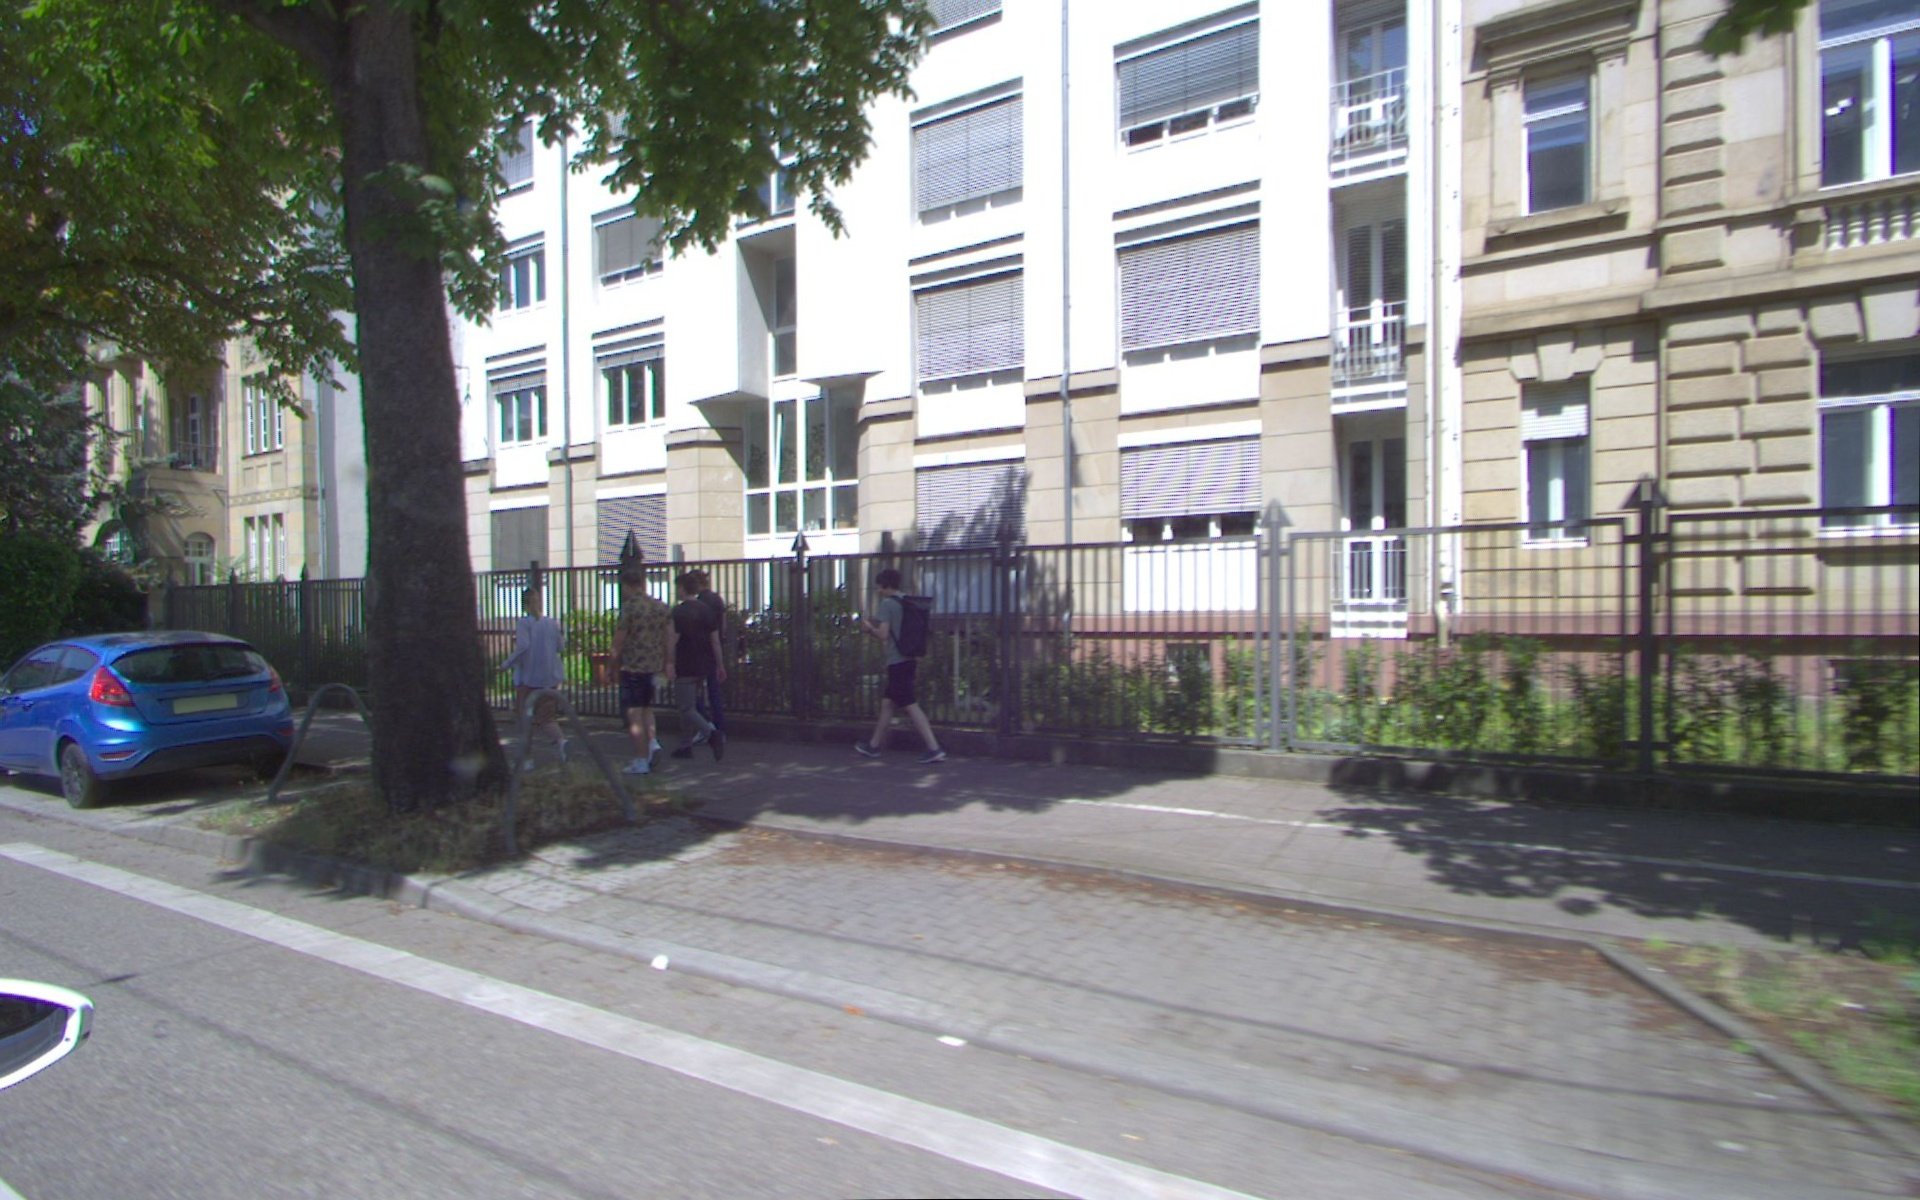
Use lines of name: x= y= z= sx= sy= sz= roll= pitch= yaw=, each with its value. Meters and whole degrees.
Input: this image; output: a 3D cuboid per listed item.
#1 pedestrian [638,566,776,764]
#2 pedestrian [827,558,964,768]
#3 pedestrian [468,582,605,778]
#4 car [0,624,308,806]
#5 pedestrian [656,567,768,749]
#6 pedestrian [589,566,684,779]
pedestrian: x=-2.427 y=0.590 z=9.624 sx=1.037 sy=1.785 sz=0.786 roll=0 pitch=0 yaw=31
pedestrian: x=-0.599 y=0.554 z=9.279 sx=1.068 sy=1.821 sz=0.683 roll=0 pitch=0 yaw=31
pedestrian: x=-3.872 y=0.693 z=9.159 sx=0.961 sy=1.673 sz=0.764 roll=0 pitch=0 yaw=37
car: x=-8.304 y=0.987 z=9.891 sx=3.666 sy=1.462 sz=1.675 roll=-1 pitch=0 yaw=31
pedestrian: x=-2.630 y=0.588 z=10.615 sx=0.963 sy=1.835 sz=0.659 roll=0 pitch=0 yaw=31
pedestrian: x=-2.931 y=0.617 z=9.038 sx=0.696 sy=1.800 sz=0.943 roll=0 pitch=0 yaw=-25
